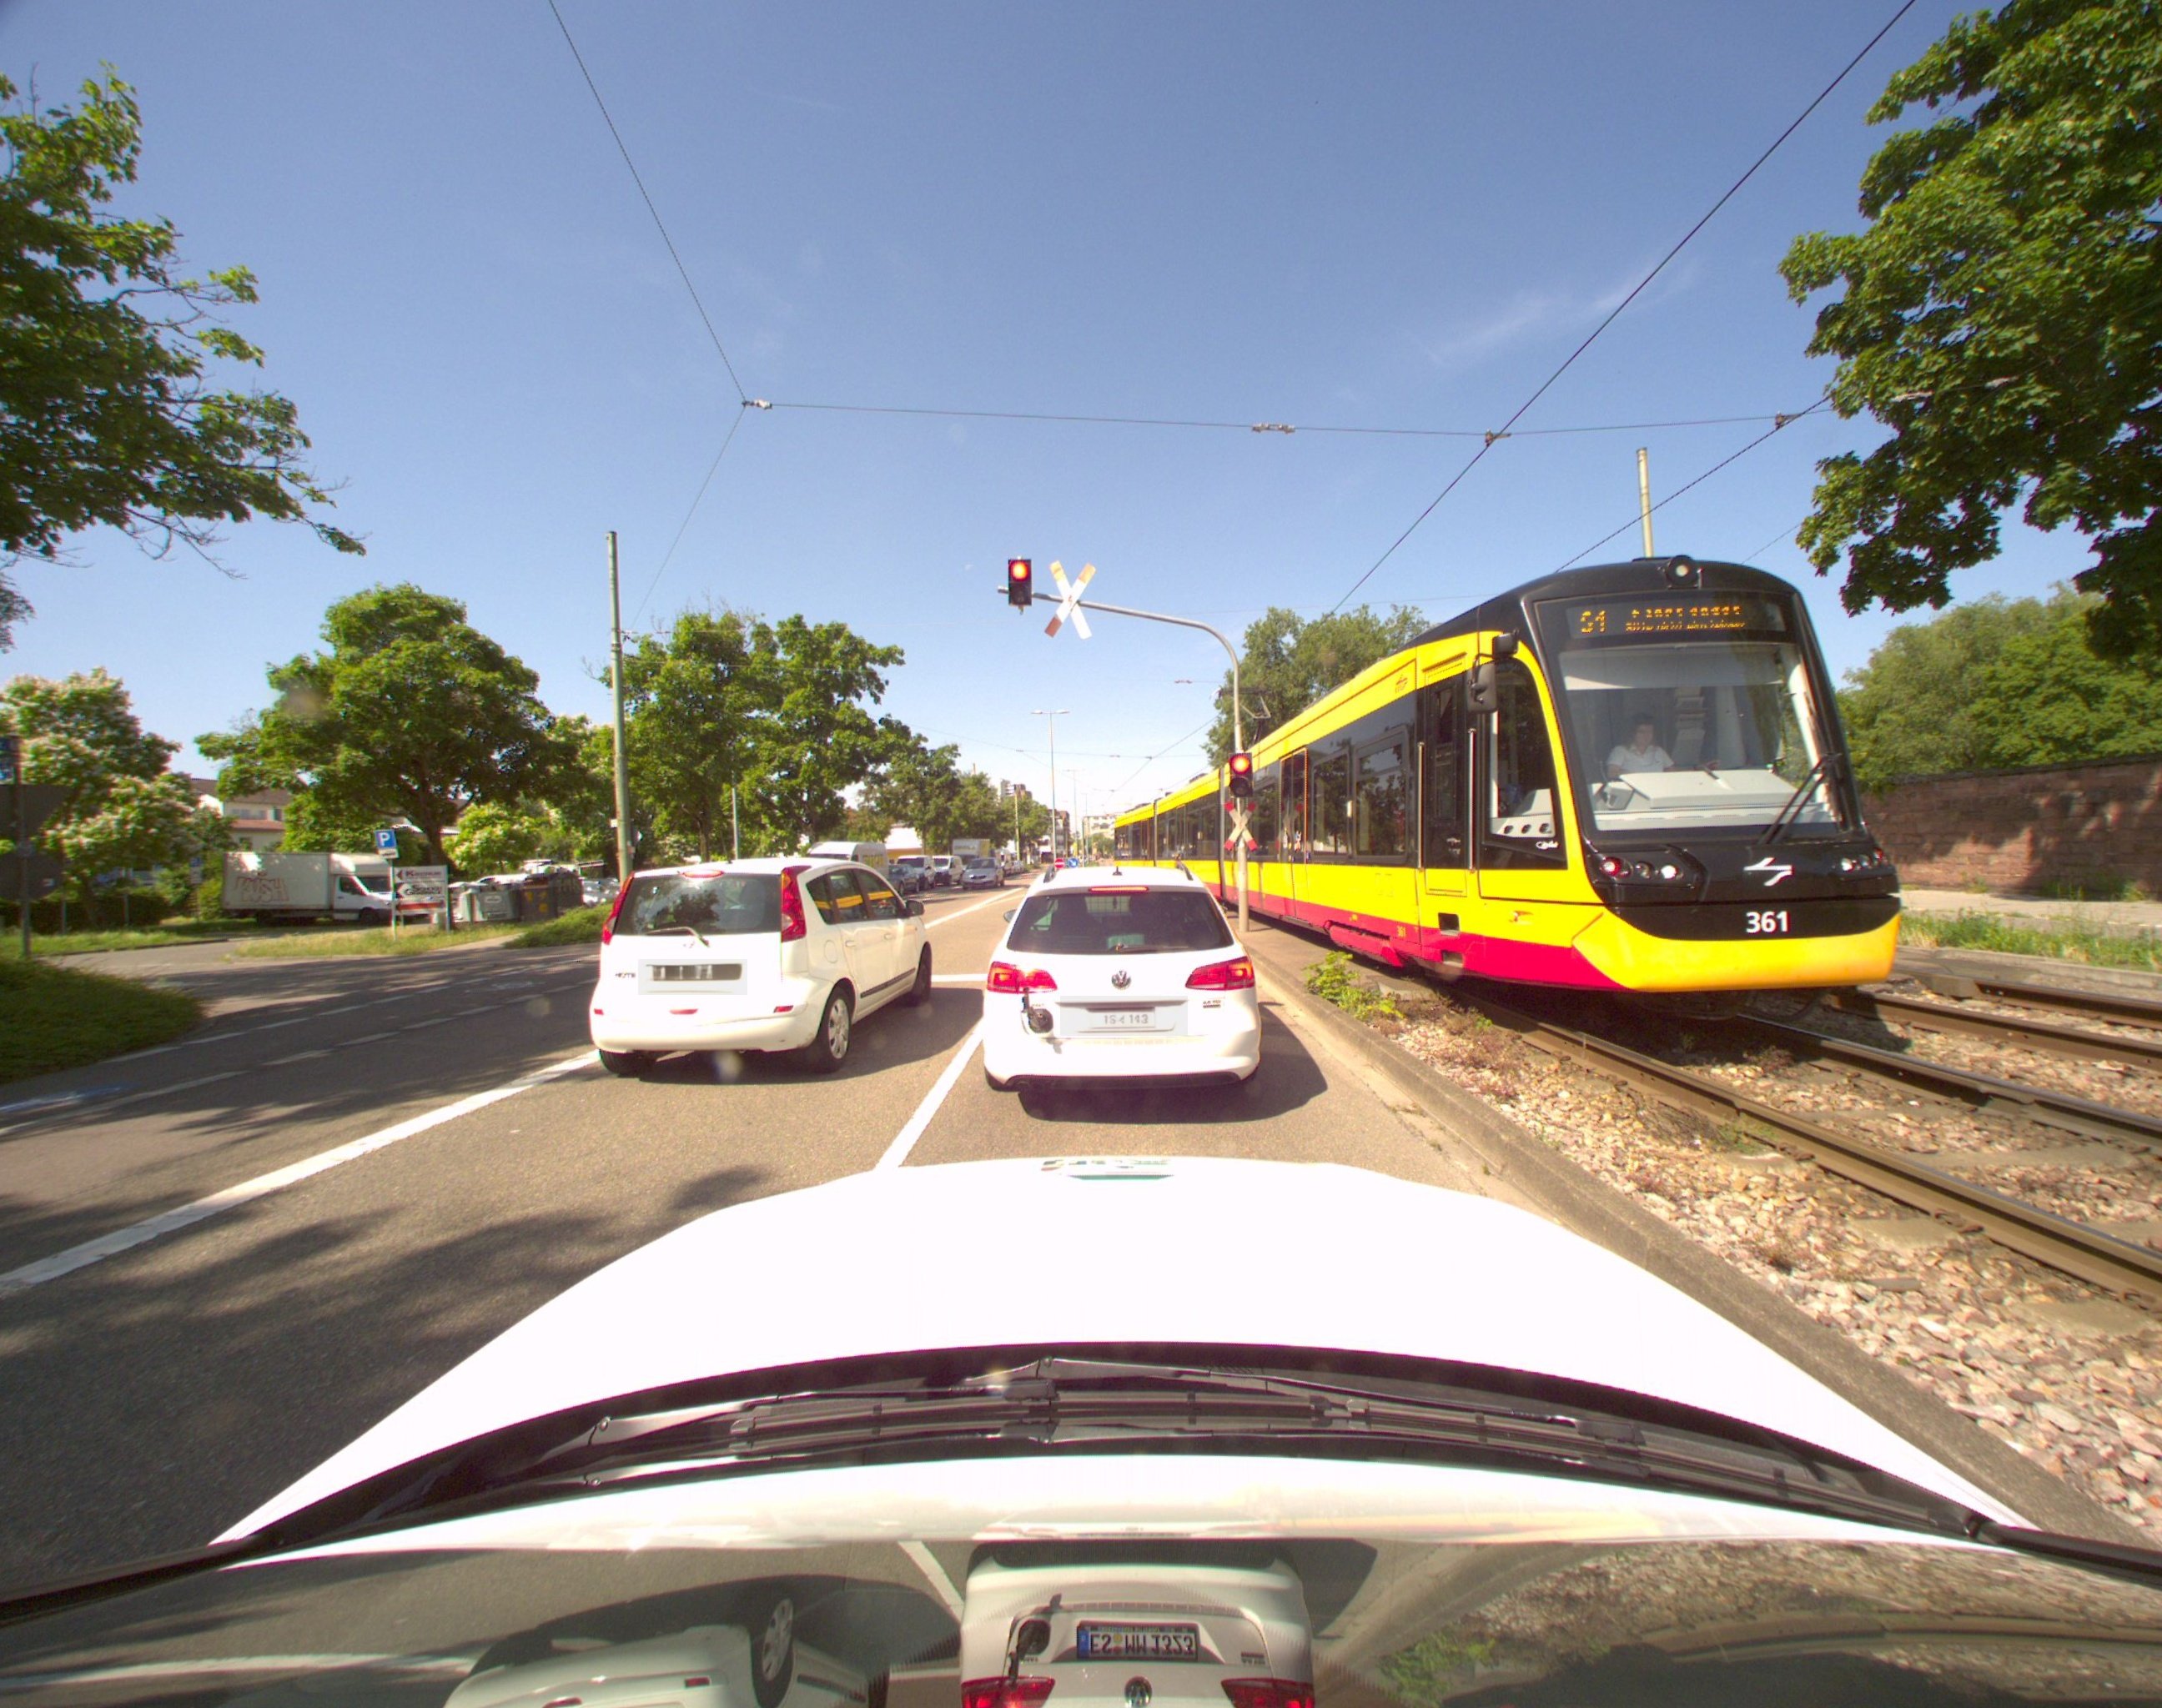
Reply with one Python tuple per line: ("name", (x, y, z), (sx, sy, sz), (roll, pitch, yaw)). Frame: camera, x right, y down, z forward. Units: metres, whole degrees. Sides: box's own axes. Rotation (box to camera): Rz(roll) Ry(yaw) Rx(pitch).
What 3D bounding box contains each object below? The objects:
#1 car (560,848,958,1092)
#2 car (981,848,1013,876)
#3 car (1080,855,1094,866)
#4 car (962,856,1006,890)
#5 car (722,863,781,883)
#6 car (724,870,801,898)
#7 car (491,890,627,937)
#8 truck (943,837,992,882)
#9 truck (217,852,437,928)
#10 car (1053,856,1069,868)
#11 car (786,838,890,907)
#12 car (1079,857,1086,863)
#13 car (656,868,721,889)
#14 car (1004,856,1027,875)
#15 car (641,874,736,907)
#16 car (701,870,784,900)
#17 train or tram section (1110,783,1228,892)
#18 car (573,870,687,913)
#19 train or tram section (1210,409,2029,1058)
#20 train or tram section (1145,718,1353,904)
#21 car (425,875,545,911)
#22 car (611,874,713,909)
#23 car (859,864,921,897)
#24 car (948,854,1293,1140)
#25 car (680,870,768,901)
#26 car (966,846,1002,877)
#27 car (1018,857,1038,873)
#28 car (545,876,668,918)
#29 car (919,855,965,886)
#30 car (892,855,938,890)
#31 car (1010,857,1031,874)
("car", (-2.435, 0.751, 7.547), (1.655, 1.547, 4.550), (-1, 0, 3))
("car", (-7.770, 0.680, 76.124), (2.114, 2.516, 5.737), (0, 0, 2))
("car", (0.819, 0.855, 112.711), (1.698, 1.473, 4.593), (-3, 0, 3))
("car", (-4.968, 0.944, 41.992), (1.670, 1.553, 3.580), (-4, 0, 1))
("car", (-31.471, 1.822, 77.948), (4.780, 1.787, 2.062), (0, -1, -3))
("car", (-19.461, 1.822, 49.884), (3.977, 1.415, 1.729), (-4, -1, -3))
("car", (-19.898, 2.235, 31.170), (3.977, 1.415, 1.729), (-4, -1, -3))
("truck", (-8.356, 0.373, 60.692), (2.411, 3.150, 7.001), (0, 0, 2))
("truck", (-32.423, 1.487, 35.210), (6.978, 3.110, 2.677), (0, 0, 0))
("car", (-2.576, 1.083, 108.123), (1.698, 1.473, 4.593), (-3, 0, 3))
("car", (-9.579, 0.687, 32.677), (2.114, 2.516, 5.822), (0, 0, 3))
("car", (0.438, 1.515, 220.411), (1.698, 1.473, 4.593), (-3, 0, 3))
("car", (-35.165, 2.198, 72.978), (4.780, 1.787, 2.062), (0, -1, -3))
("car", (-6.824, 1.173, 85.213), (1.856, 1.868, 5.415), (0, 0, 1))
("car", (-20.287, 1.870, 42.217), (3.977, 1.415, 1.729), (-4, -1, -3))
("car", (-19.614, 1.771, 47.277), (3.977, 1.415, 1.729), (-4, -1, -3))
("train or tram section", (3.431, -0.584, 35.019), (2.866, 3.855, 10.518), (-3, 0, -5))
("car", (-19.915, 1.629, 36.071), (3.977, 1.610, 1.729), (-4, -1, -3))
("train or tram section", (4.284, -0.749, 11.169), (2.862, 3.855, 12.388), (-3, 0, 0))
("train or tram section", (4.082, -0.910, 23.573), (2.863, 3.855, 12.380), (-3, 0, -2))
("car", (-31.767, 2.049, 43.541), (4.780, 1.787, 2.062), (0, -1, -3))
("car", (-20.315, 1.807, 39.605), (3.977, 1.415, 1.729), (-4, -1, -3))
("car", (-9.090, 1.223, 39.055), (1.856, 1.415, 4.281), (0, 0, 1))
("car", (0.268, 0.756, 6.301), (1.756, 1.430, 4.002), (-3, 0, 2))
("car", (-19.535, 1.722, 44.671), (3.977, 1.415, 1.729), (-4, -1, -3))
("car", (-8.147, 0.620, 68.692), (2.114, 2.516, 5.737), (0, 0, 2))
("car", (-6.391, 1.360, 98.942), (1.856, 1.868, 5.415), (0, 0, 1))
("car", (-19.666, 1.769, 33.863), (3.977, 1.415, 1.729), (-4, -1, -3))
("car", (-8.869, 1.014, 52.272), (1.856, 1.868, 5.415), (0, 0, 1))
("car", (-9.230, 0.993, 45.688), (1.859, 1.868, 5.068), (0, 0, -4))
("car", (-6.773, 1.273, 92.031), (1.856, 1.868, 5.415), (0, 0, 1))
